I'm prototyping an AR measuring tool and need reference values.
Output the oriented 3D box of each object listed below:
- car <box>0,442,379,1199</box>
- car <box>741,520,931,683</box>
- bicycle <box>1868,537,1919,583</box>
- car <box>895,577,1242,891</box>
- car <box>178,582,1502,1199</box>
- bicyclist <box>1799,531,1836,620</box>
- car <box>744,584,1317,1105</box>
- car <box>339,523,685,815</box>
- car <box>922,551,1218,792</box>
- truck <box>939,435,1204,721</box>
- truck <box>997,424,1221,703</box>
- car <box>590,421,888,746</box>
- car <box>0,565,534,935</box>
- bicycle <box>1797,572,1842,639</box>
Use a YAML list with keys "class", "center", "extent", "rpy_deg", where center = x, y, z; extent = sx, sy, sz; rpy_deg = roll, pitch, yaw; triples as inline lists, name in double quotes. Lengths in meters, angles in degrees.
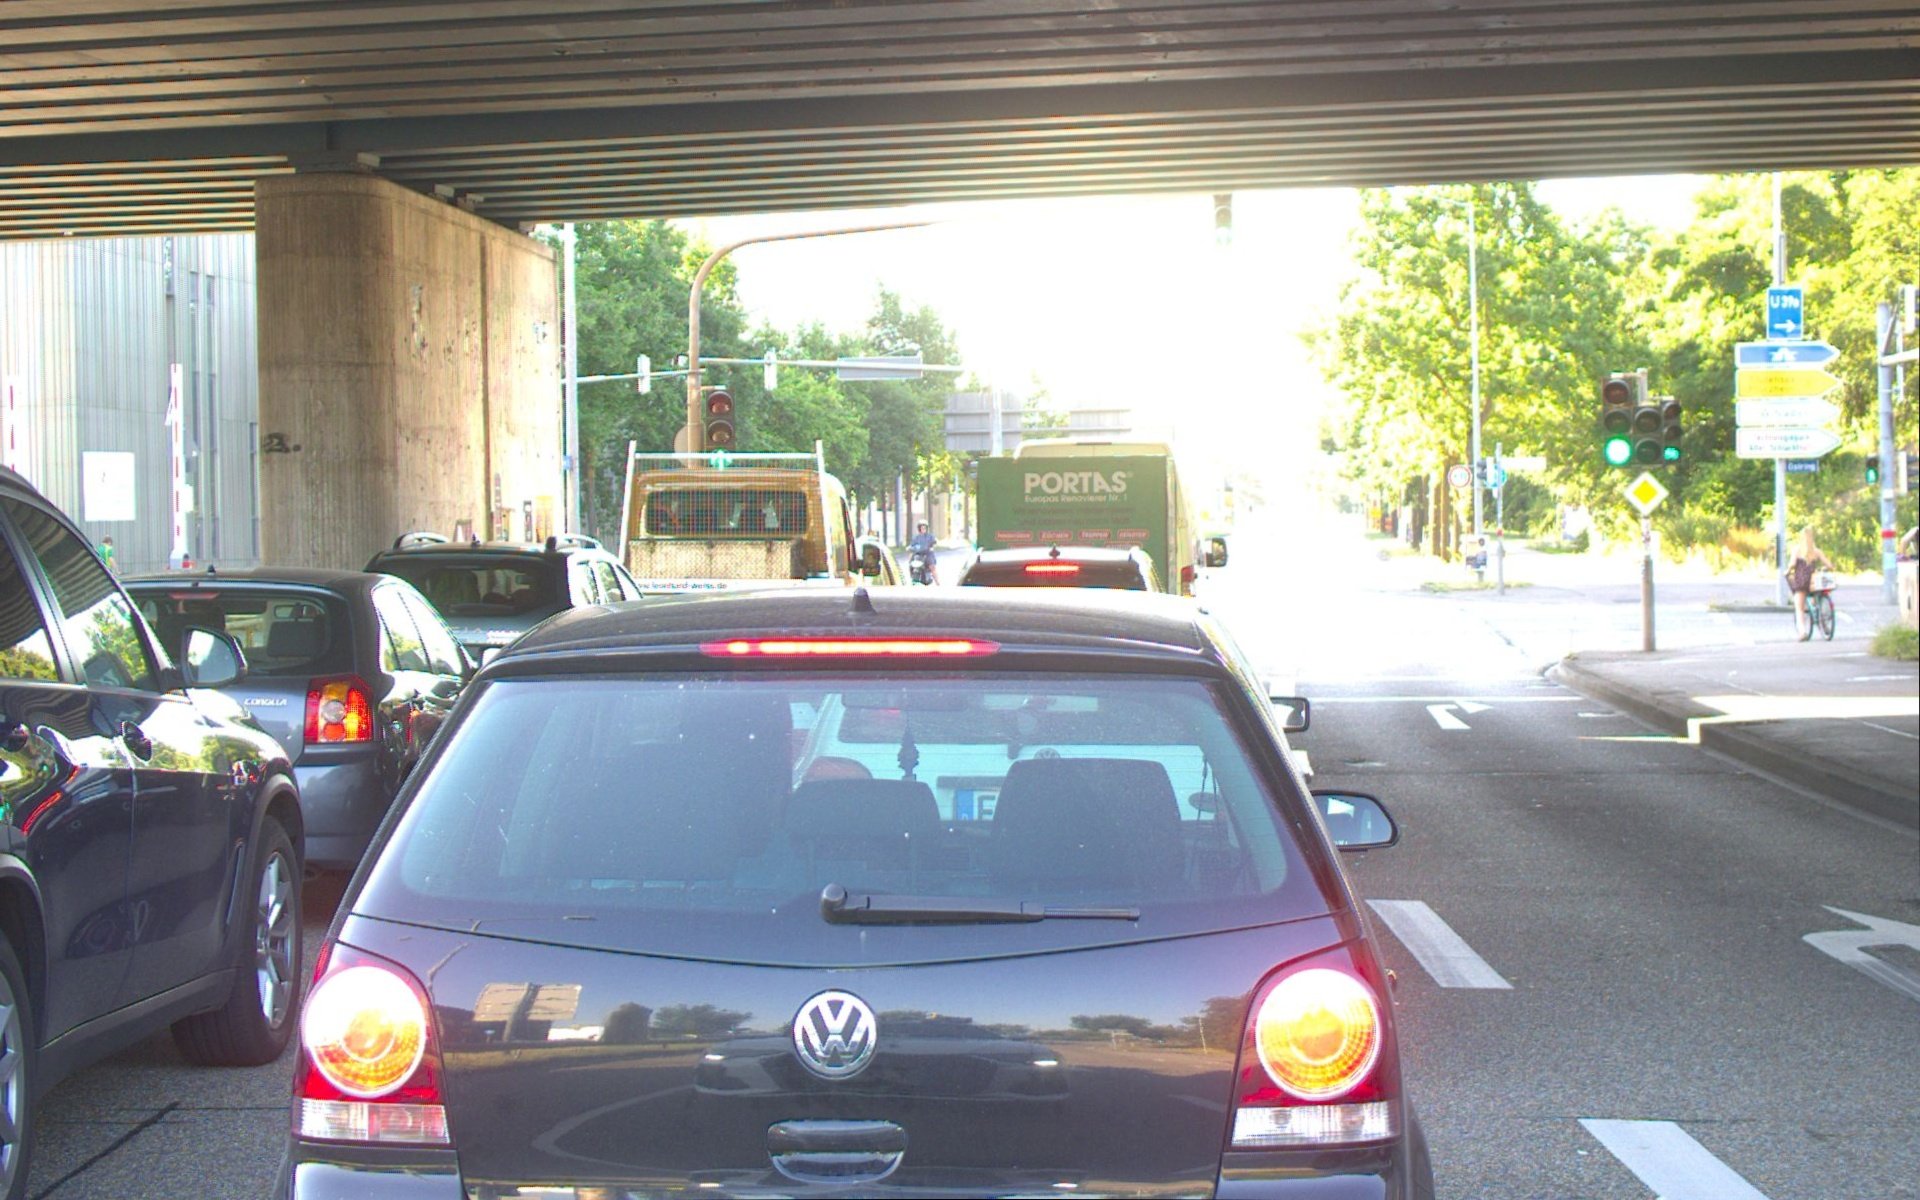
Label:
- class: "car"
  center: [-2.901, 0.515, 8.322]
  extent: [1.994, 1.728, 4.532]
  rpy_deg: [1, 1, 3]
- class: "car"
  center: [-1.311, -0.005, 37.715]
  extent: [1.617, 1.673, 3.682]
  rpy_deg: [1, 1, 5]
- class: "bicycle"
  center: [21.268, -0.908, 77.107]
  extent: [1.664, 0.988, 0.577]
  rpy_deg: [-1, 4, 23]
- class: "car"
  center: [0.526, 0.600, 17.829]
  extent: [1.578, 1.408, 4.062]
  rpy_deg: [1, 1, 1]
- class: "car"
  center: [-0.208, 0.691, 6.066]
  extent: [1.616, 1.405, 3.683]
  rpy_deg: [1, 1, -2]
- class: "bicyclist"
  center: [12.028, -0.343, 48.229]
  extent: [0.427, 1.229, 0.460]
  rpy_deg: [-1, 0, 6]
- class: "car"
  center: [0.224, 0.671, 11.616]
  extent: [1.578, 1.408, 4.062]
  rpy_deg: [1, 1, 1]
- class: "car"
  center: [-2.753, 0.381, 21.812]
  extent: [1.616, 1.673, 3.683]
  rpy_deg: [1, 1, 1]
- class: "car"
  center: [0.868, 0.447, 24.594]
  extent: [1.796, 1.553, 3.999]
  rpy_deg: [1, 1, 6]
- class: "truck"
  center: [1.047, -0.201, 30.054]
  extent: [1.996, 2.307, 3.999]
  rpy_deg: [1, 1, 6]
- class: "truck"
  center: [1.582, -0.368, 35.091]
  extent: [1.996, 2.659, 3.999]
  rpy_deg: [1, 1, 6]
- class: "car"
  center: [-1.818, -0.157, 29.994]
  extent: [2.137, 2.567, 5.087]
  rpy_deg: [1, 1, 1]
- class: "car"
  center: [-2.910, 0.560, 15.096]
  extent: [1.616, 1.405, 3.683]
  rpy_deg: [1, 1, 0]
- class: "bicycle"
  center: [12.029, 0.076, 48.125]
  extent: [0.437, 0.911, 1.026]
  rpy_deg: [-2, 0, 6]
